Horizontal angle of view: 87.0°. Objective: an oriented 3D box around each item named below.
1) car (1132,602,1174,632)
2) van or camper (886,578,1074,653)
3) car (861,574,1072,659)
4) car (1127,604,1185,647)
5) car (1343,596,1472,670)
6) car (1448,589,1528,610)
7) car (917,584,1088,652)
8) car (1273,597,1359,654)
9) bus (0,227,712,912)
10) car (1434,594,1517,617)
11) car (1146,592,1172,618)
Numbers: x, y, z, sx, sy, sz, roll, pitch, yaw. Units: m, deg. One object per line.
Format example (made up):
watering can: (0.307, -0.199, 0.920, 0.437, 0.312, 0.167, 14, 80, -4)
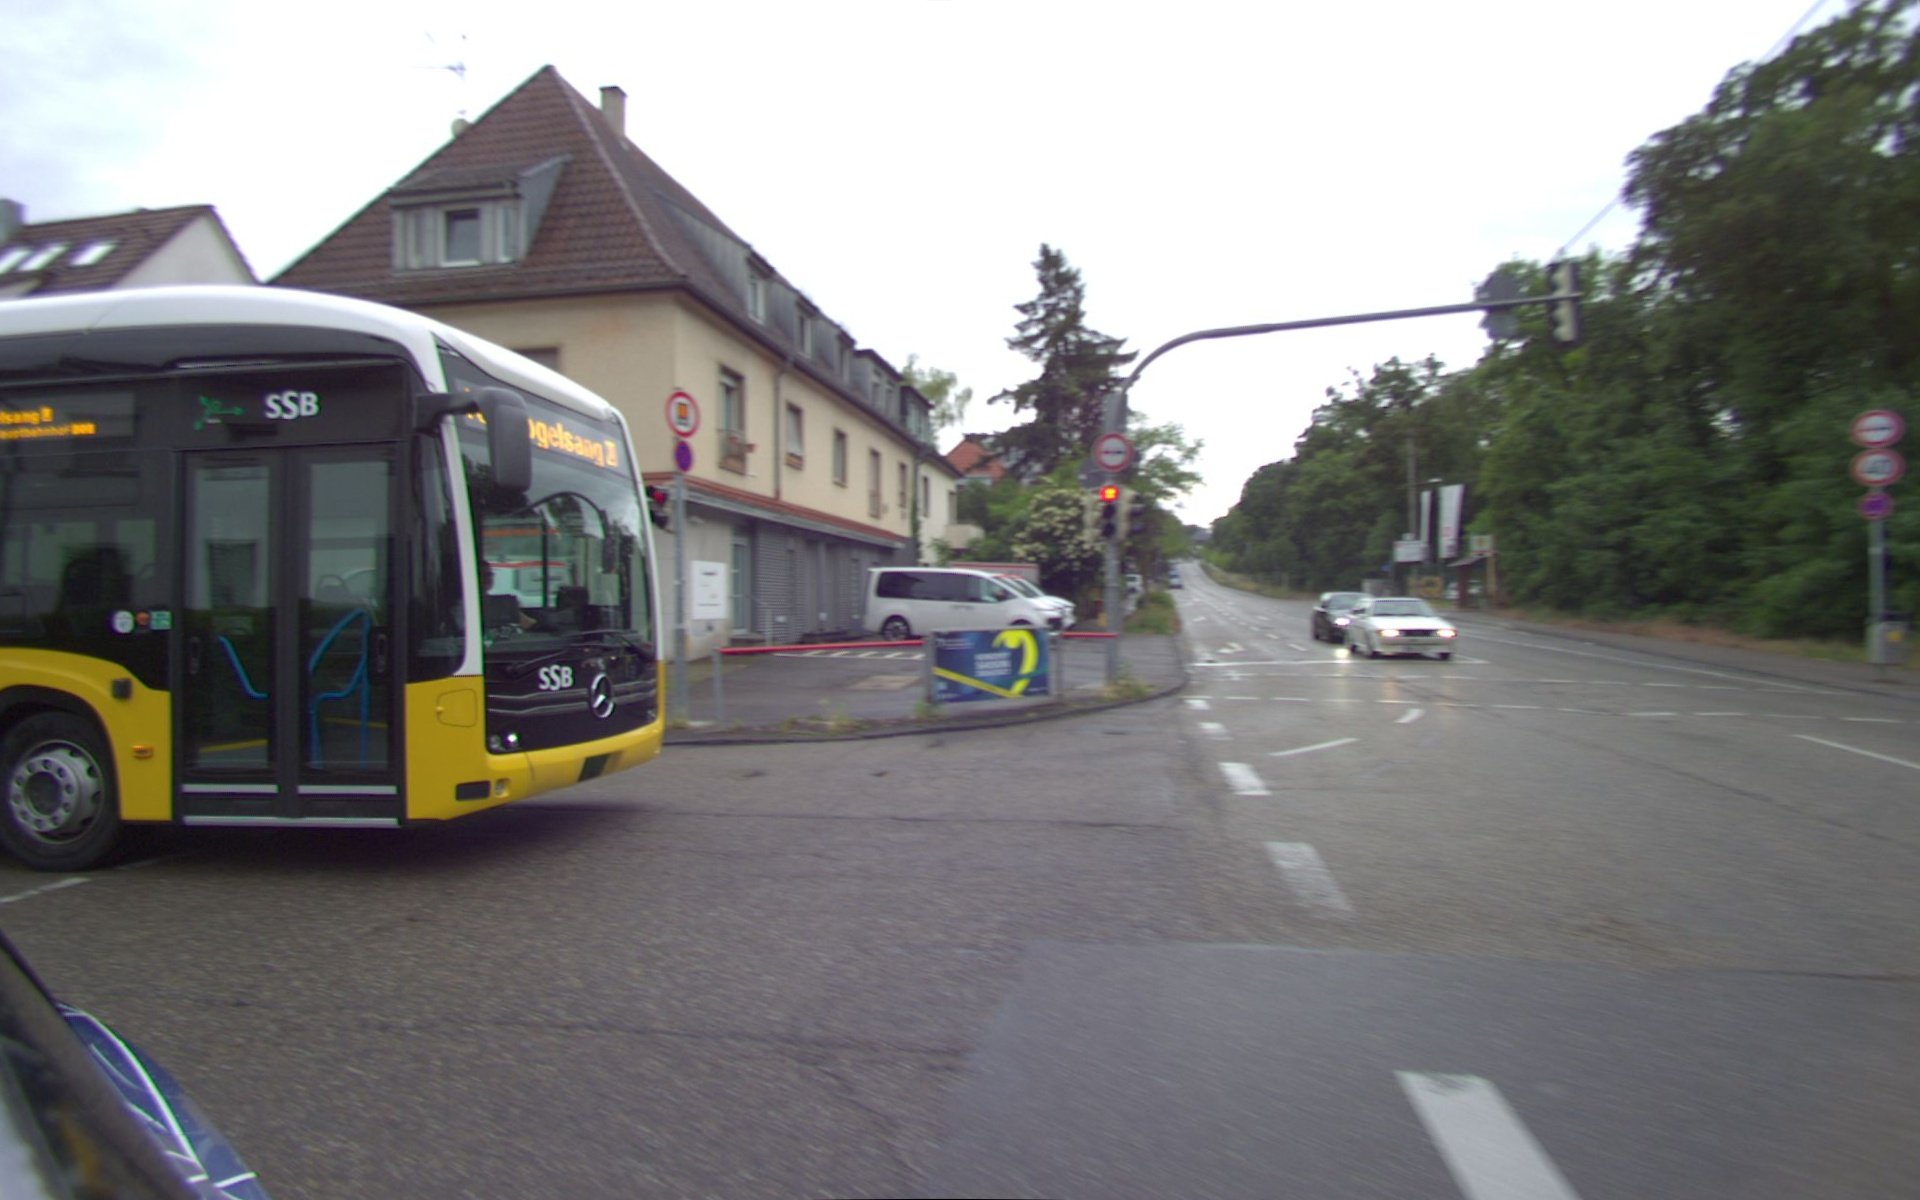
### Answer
car: (9.905, 0.840, 51.669, 1.983, 1.364, 3.985, -1, 2, 12)
van or camper: (0.605, 0.446, 29.353, 5.132, 2.029, 1.991, -1, 1, 14)
car: (0.206, 0.410, 26.035, 5.129, 2.029, 1.992, -1, 1, 12)
car: (7.265, 0.898, 37.281, 1.983, 1.364, 3.985, -1, 2, 12)
car: (9.666, 0.654, 22.172, 1.807, 1.364, 3.985, -1, 2, 12)
car: (31.869, -0.038, 61.170, 3.957, 1.209, 1.600, -1, 1, 11)
car: (1.393, 0.553, 32.276, 5.132, 2.029, 1.991, -1, 1, 14)
car: (10.005, 0.673, 28.728, 1.807, 1.364, 3.985, -1, 2, 12)
bus: (-6.584, -0.033, 7.168, 8.936, 3.424, 2.901, -1, -1, 9)
car: (29.976, 0.330, 58.914, 3.957, 1.209, 1.600, -1, 1, 11)
car: (16.011, 0.375, 81.282, 1.983, 1.895, 3.985, -1, 2, 12)
